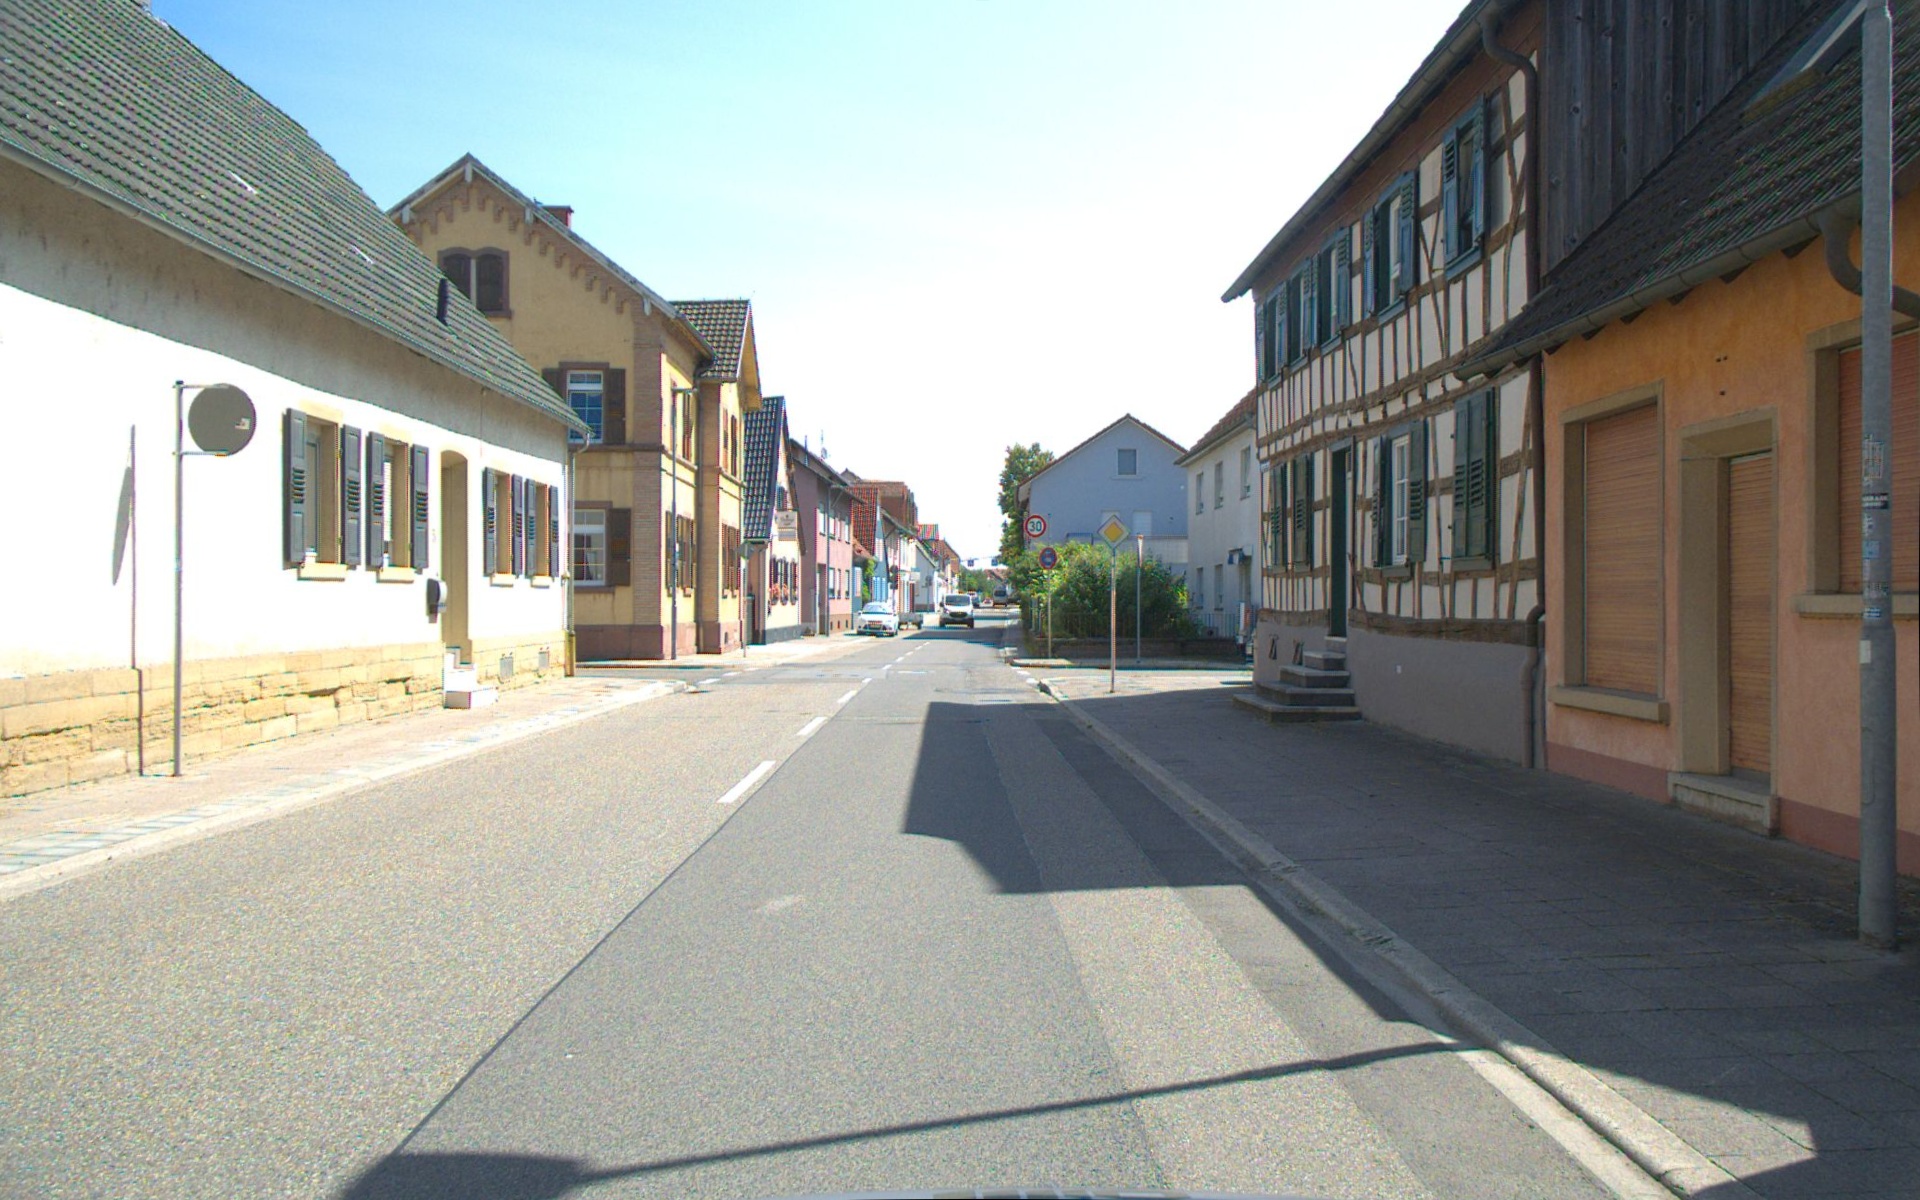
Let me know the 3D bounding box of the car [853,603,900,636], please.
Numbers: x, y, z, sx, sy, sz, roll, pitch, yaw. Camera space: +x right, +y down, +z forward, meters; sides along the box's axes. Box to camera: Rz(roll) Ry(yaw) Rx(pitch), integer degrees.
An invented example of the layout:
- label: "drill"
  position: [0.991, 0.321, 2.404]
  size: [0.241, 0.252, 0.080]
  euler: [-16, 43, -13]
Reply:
- label: "car"
  position: [-3.851, 0.902, 76.842]
  size: [1.953, 1.467, 4.000]
  euler: [-1, 0, 0]

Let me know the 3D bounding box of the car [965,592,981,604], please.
- label: "car"
  position: [1.629, -0.268, 208.437]
  size: [1.829, 1.571, 3.838]
  euler: [-1, 0, 0]

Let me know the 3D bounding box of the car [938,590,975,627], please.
- label: "car"
  position: [-0.233, 0.511, 98.784]
  size: [2.114, 2.116, 3.998]
  euler: [-1, -1, -1]

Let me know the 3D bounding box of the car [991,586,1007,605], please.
- label: "car"
  position: [5.213, -0.597, 223.066]
  size: [1.976, 2.612, 3.999]
  euler: [0, 0, -1]

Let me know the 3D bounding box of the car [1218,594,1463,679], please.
- label: "car"
  position: [6.808, 0.637, 29.861]
  size: [3.908, 1.467, 1.998]
  euler: [0, 0, -4]

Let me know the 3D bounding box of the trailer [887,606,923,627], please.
- label: "trailer"
  position: [-3.084, 0.905, 93.370]
  size: [1.953, 1.109, 3.999]
  euler: [0, 0, -1]
